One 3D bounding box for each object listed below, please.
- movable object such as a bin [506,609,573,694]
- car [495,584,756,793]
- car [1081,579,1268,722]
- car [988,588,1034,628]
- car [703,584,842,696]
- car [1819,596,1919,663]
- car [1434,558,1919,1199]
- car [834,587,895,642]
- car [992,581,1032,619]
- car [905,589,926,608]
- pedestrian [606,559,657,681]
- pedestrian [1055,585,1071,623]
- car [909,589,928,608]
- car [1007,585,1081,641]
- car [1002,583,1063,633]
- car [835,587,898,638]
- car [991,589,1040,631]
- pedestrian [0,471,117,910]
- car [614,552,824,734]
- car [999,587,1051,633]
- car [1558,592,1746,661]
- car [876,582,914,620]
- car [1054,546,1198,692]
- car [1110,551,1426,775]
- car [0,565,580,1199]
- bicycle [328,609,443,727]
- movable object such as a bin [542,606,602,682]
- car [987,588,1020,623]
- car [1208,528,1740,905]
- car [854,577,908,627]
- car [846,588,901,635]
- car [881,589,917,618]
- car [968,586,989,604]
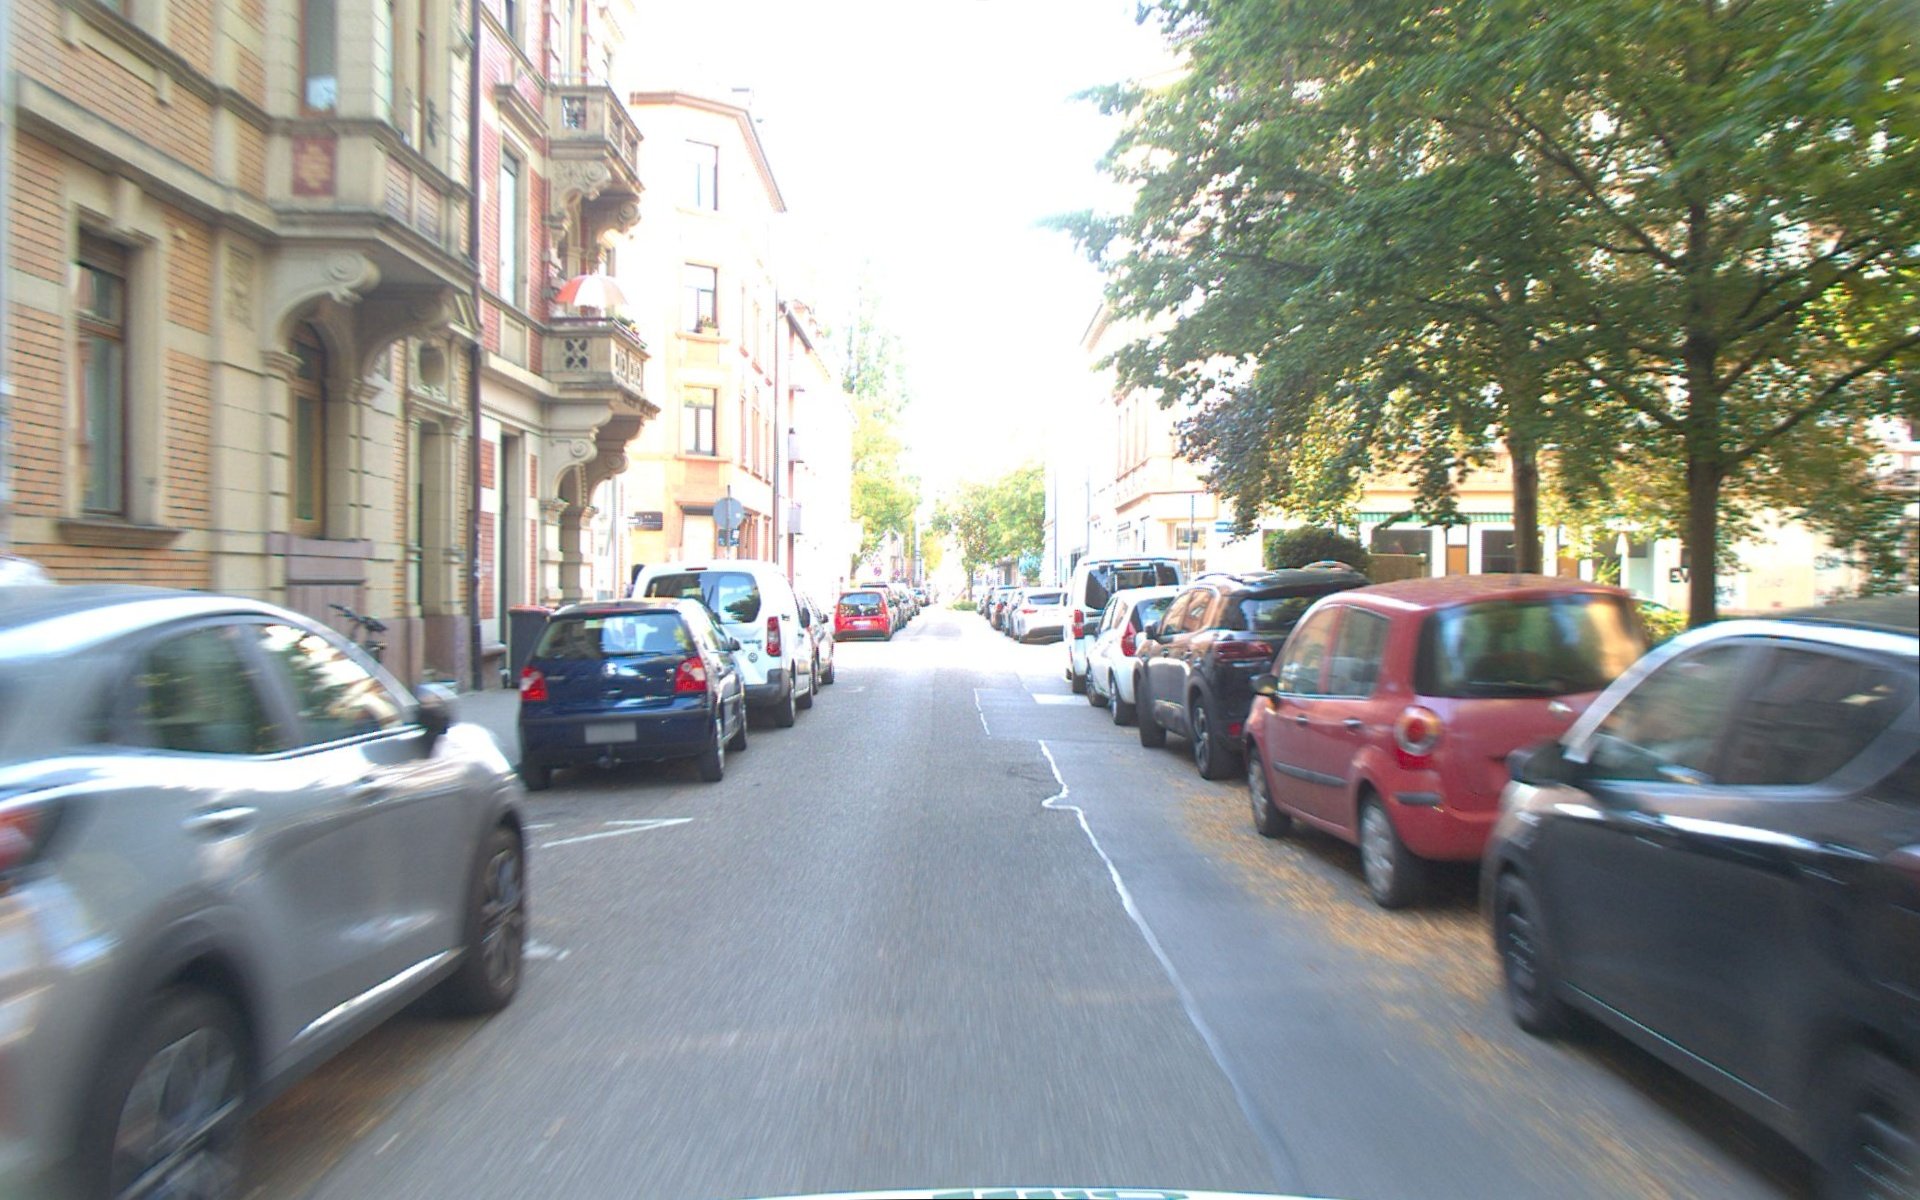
[{"bbox_3d":[-5.545,0.670,21.836,0.624,1.059,0.856,2,0,-1],"label":"movable object such as a bin"},{"bbox_3d":[-2.784,0.653,14.574,1.659,1.540,3.970,-1,0,-3],"label":"car"},{"bbox_3d":[2.552,0.555,20.471,1.684,1.598,3.827,0,0,-2],"label":"car"},{"bbox_3d":[2.076,0.302,68.247,1.642,1.533,3.937,-1,0,-1],"label":"car"},{"bbox_3d":[-2.735,0.539,24.843,1.658,1.507,3.972,-1,0,-1],"label":"car"},{"bbox_3d":[22.129,0.710,38.472,3.456,1.499,1.634,1,-2,6],"label":"car"},{"bbox_3d":[2.764,0.657,4.775,1.586,1.512,3.775,-4,0,0],"label":"car"},{"bbox_3d":[-2.765,0.389,48.611,1.595,1.507,3.600,-1,0,-1],"label":"car"},{"bbox_3d":[2.474,-0.003,79.957,1.642,1.655,4.249,-4,0,-1],"label":"car"},{"bbox_3d":[-3.699,-0.120,137.105,1.642,1.513,4.094,-1,0,-1],"label":"car"},{"bbox_3d":[-4.631,0.287,23.335,0.537,1.673,0.717,1,-2,-1],"label":"pedestrian"},{"bbox_3d":[4.545,0.173,72.974,0.671,1.689,0.717,0,0,-1],"label":"pedestrian"},{"bbox_3d":[-3.555,-0.130,142.241,1.642,1.513,4.094,-1,0,-1],"label":"car"},{"bbox_3d":[2.398,0.345,48.171,1.709,1.533,4.355,-1,0,-3],"label":"car"},{"bbox_3d":[2.320,0.236,53.765,1.708,1.533,4.020,-1,0,-1],"label":"car"},{"bbox_3d":[-2.990,0.375,53.405,1.660,1.547,4.097,-1,0,1],"label":"car"},{"bbox_3d":[2.112,0.355,63.281,1.642,1.533,3.937,-1,0,-1],"label":"car"},{"bbox_3d":[-4.452,0.392,7.676,0.567,1.915,0.904,1,-1,0],"label":"pedestrian"},{"bbox_3d":[-2.691,0.426,19.483,1.794,1.843,4.571,-1,0,-1],"label":"car"},{"bbox_3d":[2.279,0.326,58.772,1.566,1.533,4.183,-1,0,-1],"label":"car"},{"bbox_3d":[16.220,0.628,38.909,3.773,1.499,1.634,1,-2,6],"label":"car"},{"bbox_3d":[-3.231,0.027,82.884,1.729,1.816,4.038,-1,0,-1],"label":"car"},{"bbox_3d":[2.508,0.252,25.992,1.874,2.033,4.793,-1,0,2],"label":"car"},{"bbox_3d":[2.623,0.508,15.139,1.705,1.631,4.260,-4,0,-4],"label":"car"},{"bbox_3d":[-2.445,0.717,4.846,1.730,1.540,4.192,-1,0,-1],"label":"car"},{"bbox_3d":[-5.634,0.643,16.292,0.559,1.059,1.546,2,0,-1],"label":"bicycle"},{"bbox_3d":[-5.630,0.631,24.030,0.624,1.059,0.856,2,0,-1],"label":"movable object such as a bin"},{"bbox_3d":[2.221,0.272,85.283,1.641,1.711,4.095,-1,0,1],"label":"car"},{"bbox_3d":[2.723,0.555,9.727,1.587,1.653,3.860,-4,0,-4],"label":"car"},{"bbox_3d":[-3.010,0.051,63.723,1.707,1.842,4.673,-1,0,1],"label":"car"},{"bbox_3d":[-3.014,0.391,58.227,1.622,1.547,3.945,-1,0,1],"label":"car"},{"bbox_3d":[-3.373,0.184,91.761,1.635,1.495,3.822,-1,0,3],"label":"car"},{"bbox_3d":[1.537,-0.437,138.666,1.642,1.513,3.637,-1,0,-1],"label":"car"}]
